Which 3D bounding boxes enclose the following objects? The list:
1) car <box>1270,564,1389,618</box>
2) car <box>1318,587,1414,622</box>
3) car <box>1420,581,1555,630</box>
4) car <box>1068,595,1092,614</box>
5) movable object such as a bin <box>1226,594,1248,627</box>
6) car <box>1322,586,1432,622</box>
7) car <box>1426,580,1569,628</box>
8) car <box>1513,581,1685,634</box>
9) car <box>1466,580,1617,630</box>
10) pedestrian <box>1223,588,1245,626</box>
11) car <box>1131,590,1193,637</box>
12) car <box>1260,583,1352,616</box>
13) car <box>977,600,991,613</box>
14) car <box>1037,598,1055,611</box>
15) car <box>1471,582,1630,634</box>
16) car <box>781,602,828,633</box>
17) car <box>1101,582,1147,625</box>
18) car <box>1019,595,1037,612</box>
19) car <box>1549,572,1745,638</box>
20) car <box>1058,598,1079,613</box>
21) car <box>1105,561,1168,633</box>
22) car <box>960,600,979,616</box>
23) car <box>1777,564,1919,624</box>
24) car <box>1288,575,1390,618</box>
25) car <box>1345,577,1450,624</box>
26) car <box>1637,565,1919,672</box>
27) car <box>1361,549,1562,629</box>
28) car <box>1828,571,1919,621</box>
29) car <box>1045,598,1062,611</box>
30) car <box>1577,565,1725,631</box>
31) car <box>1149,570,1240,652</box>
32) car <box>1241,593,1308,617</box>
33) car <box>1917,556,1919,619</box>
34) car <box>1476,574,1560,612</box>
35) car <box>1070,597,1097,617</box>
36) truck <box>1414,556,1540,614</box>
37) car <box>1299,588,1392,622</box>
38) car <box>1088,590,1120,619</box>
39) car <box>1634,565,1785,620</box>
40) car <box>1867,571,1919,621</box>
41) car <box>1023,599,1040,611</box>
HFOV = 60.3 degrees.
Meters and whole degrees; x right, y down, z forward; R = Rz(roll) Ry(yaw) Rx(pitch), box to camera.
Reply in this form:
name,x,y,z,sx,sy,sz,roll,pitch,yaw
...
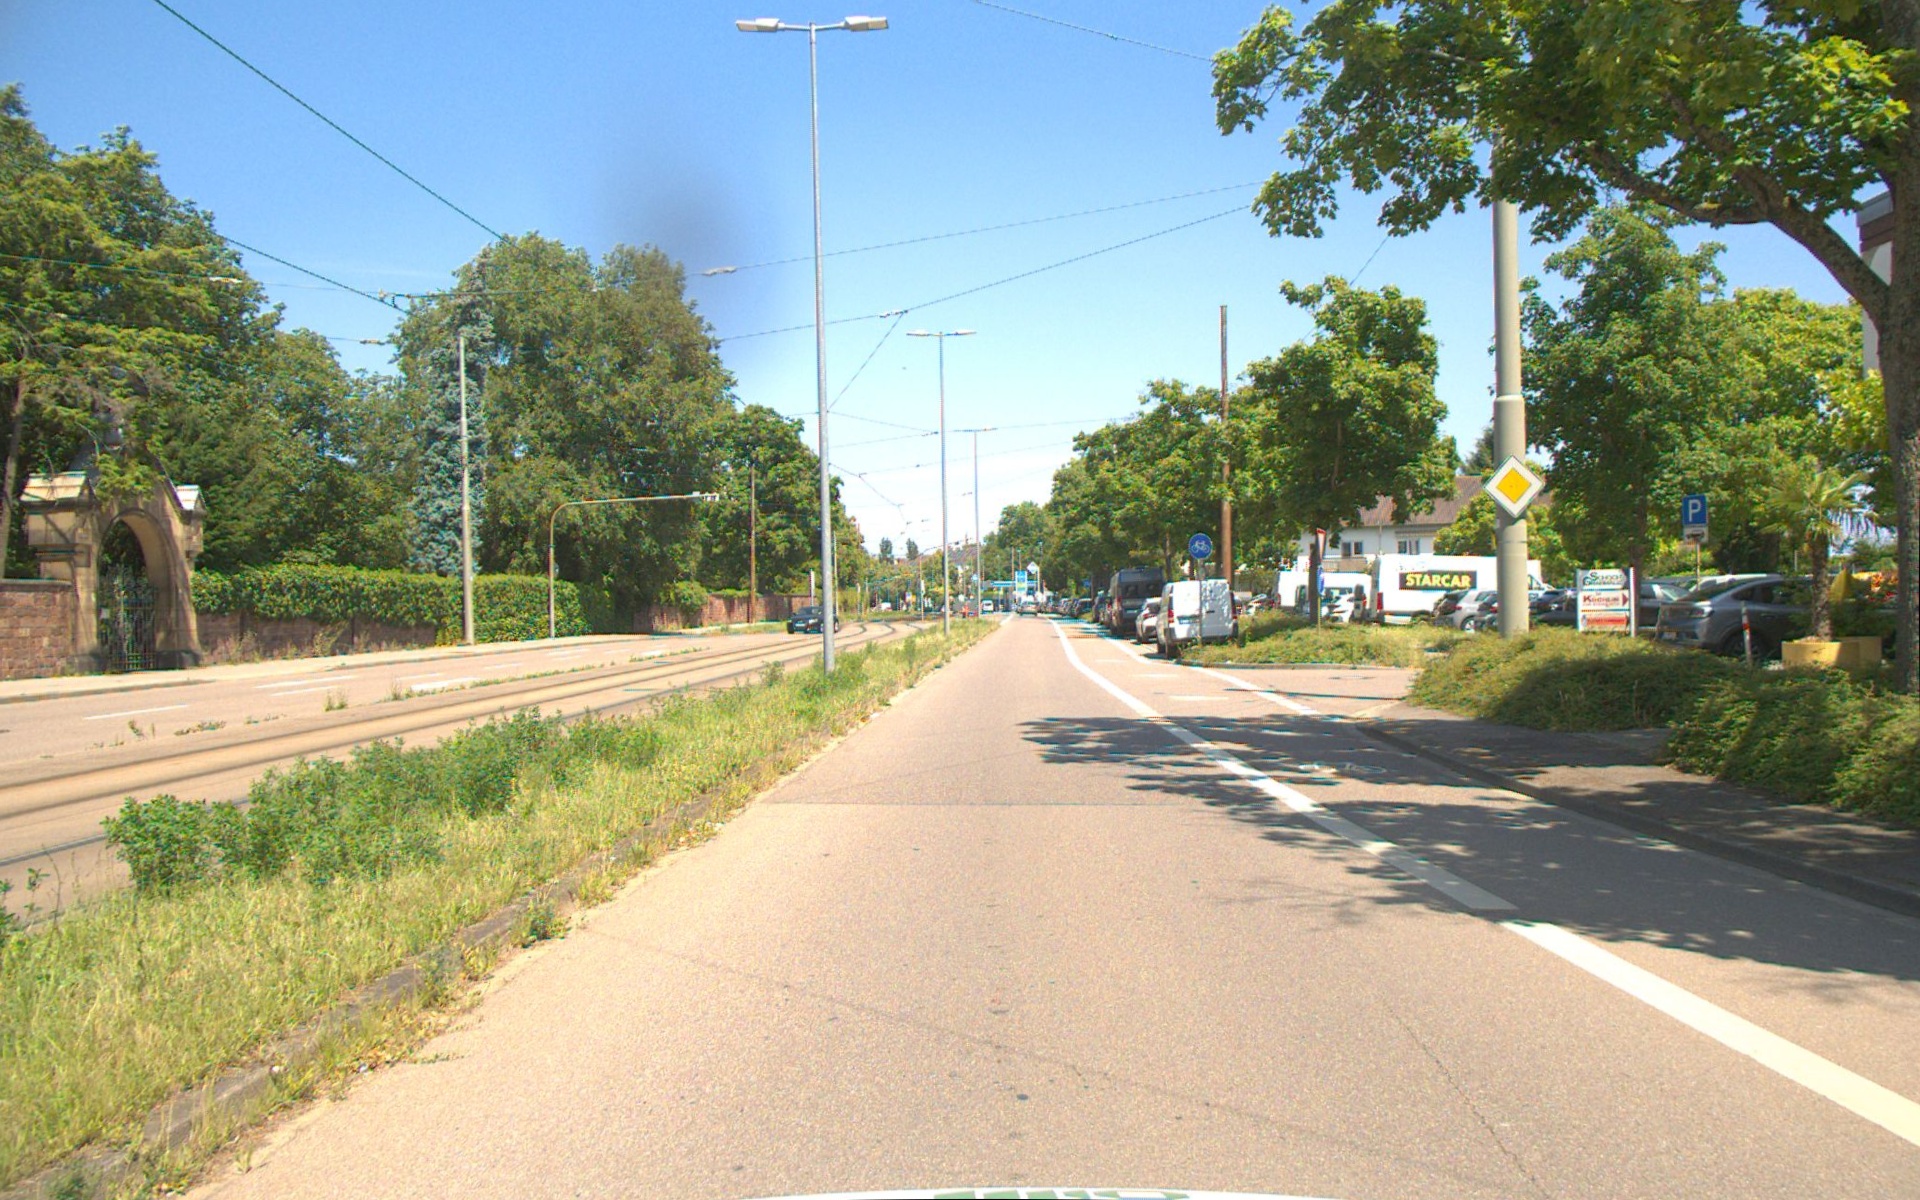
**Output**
name,x,y,z,sx,sy,sz,roll,pitch,yaw
car,17.998,-0.439,80.793,5.375,2.502,2.095,1,0,3
car,17.791,0.201,72.567,3.806,1.430,1.728,1,0,0
car,17.035,0.182,53.490,3.806,1.498,1.728,1,0,0
car,10.658,0.419,147.088,1.803,1.556,4.353,-4,0,0
movable object such as a bin,11.920,0.439,71.226,0.776,1.376,0.889,-1,0,2
car,17.561,0.184,69.714,4.189,1.430,1.728,1,0,0
car,16.465,0.124,50.775,3.809,1.404,1.726,1,0,-4
car,16.589,0.187,43.035,3.806,1.303,1.728,1,0,1
car,16.933,0.146,48.296,3.806,1.348,1.728,1,0,1
pedestrian,11.959,0.297,72.146,0.788,1.653,0.943,-1,0,2
car,6.802,0.437,56.026,1.686,1.453,4.210,-3,0,3
car,18.521,-0.019,88.730,4.594,1.673,1.955,1,0,3
car,3.771,1.004,260.715,1.953,2.049,3.998,1,-1,-2
car,11.866,0.653,228.880,1.675,1.589,4.317,-4,0,-7
car,16.329,0.226,45.882,3.806,1.348,1.728,1,0,1
car,-7.839,0.865,83.866,1.719,1.474,4.125,0,0,4
car,7.997,0.158,80.914,1.956,1.911,5.278,-4,0,4
car,6.892,0.345,167.276,1.719,1.659,4.326,-4,0,3
car,16.765,0.125,40.481,4.112,1.516,1.679,1,0,1
car,11.750,0.583,179.642,1.803,1.556,4.965,-4,0,0
car,7.118,-0.122,67.297,1.956,2.682,6.080,-4,0,2
car,0.881,0.778,156.083,1.671,1.438,4.282,-1,0,1
car,30.507,-0.214,55.559,5.046,1.783,2.095,-3,0,3
car,17.819,-0.169,77.801,4.317,1.942,1.953,1,0,-2
car,17.659,0.010,66.835,3.703,1.815,1.953,1,0,-2
car,13.734,0.295,27.624,4.055,1.639,1.944,-1,0,-1
car,17.006,-0.374,56.393,6.207,2.573,2.264,1,0,5
car,30.312,-0.160,52.873,4.221,1.461,1.633,-3,0,3
car,12.318,0.616,217.675,1.673,1.518,5.036,-4,0,-2
car,29.639,-0.084,71.057,5.376,2.502,2.095,-3,0,3
car,6.214,0.266,44.281,1.840,1.950,5.126,-4,0,3
car,18.871,0.305,99.402,3.779,1.381,1.771,1,0,3
car,29.112,-0.373,45.119,4.815,1.933,1.909,-3,0,2
car,30.463,-0.366,90.377,3.918,1.839,1.753,-3,0,-1
car,10.071,0.538,135.130,1.803,1.461,4.824,-4,0,0
truck,31.416,-0.890,100.669,6.803,3.138,2.425,-3,0,1
car,17.442,0.222,74.903,3.808,1.430,1.727,1,0,-3
car,8.979,0.290,103.502,1.677,1.661,4.709,-4,-1,2
car,29.826,-0.290,65.950,4.990,1.909,2.095,-3,0,3
car,30.135,-0.197,50.192,4.221,1.461,1.633,-3,0,3
car,10.562,0.707,244.830,1.722,1.659,4.317,-4,0,-7
